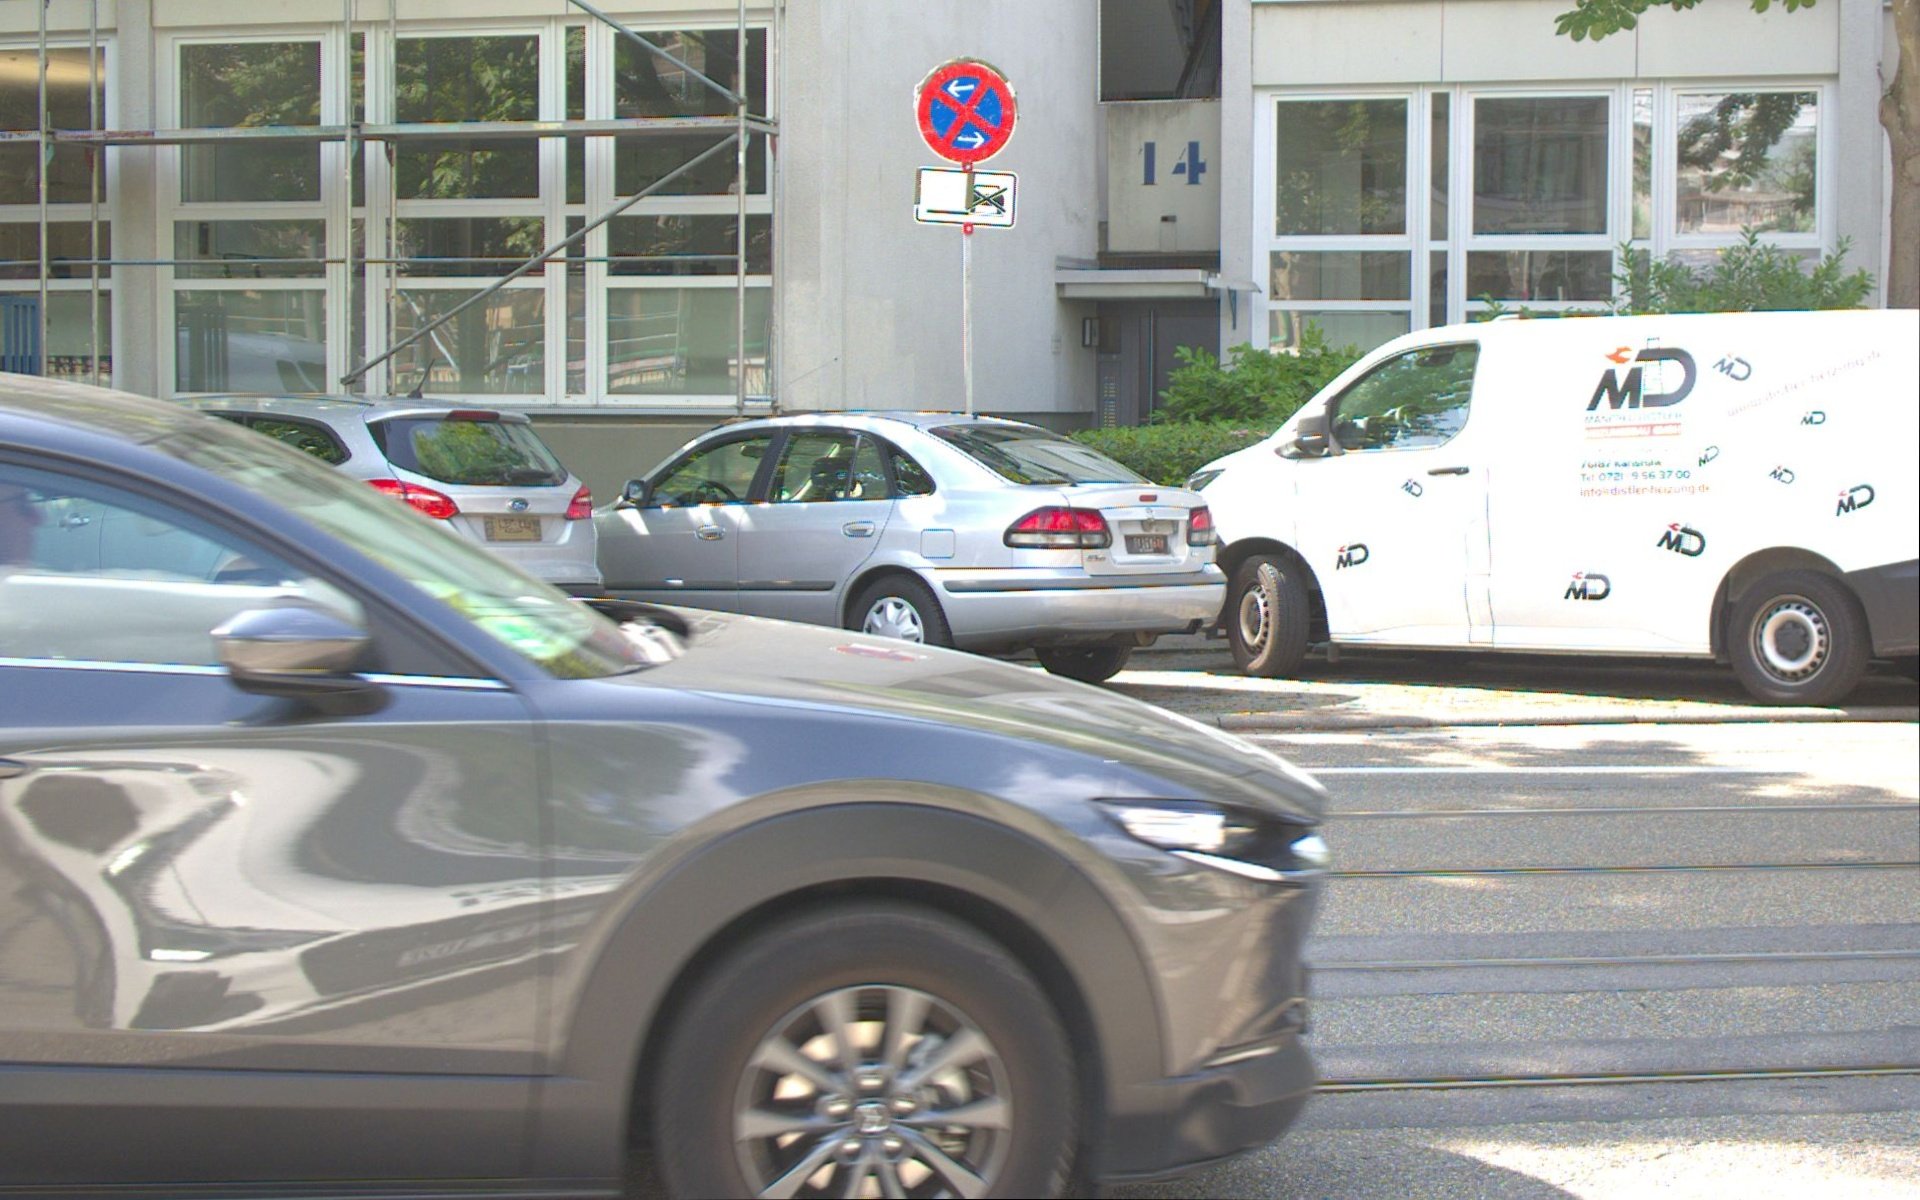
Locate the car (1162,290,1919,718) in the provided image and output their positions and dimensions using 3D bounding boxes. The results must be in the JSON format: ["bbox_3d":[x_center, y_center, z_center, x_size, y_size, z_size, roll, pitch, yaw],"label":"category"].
[{"bbox_3d":[3.536,-0.567,18.012,4.682,1.990,1.964,3,4,39],"label":"car"}]

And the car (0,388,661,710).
[{"bbox_3d":[-3.749,-0.352,17.892,4.188,1.495,1.819,3,4,35],"label":"car"}]

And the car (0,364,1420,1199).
[{"bbox_3d":[-1.558,0.357,6.049,4.335,1.506,1.796,-1,5,-10],"label":"car"}]

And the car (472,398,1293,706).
[{"bbox_3d":[-0.484,-0.343,18.275,4.167,1.444,1.818,3,4,39],"label":"car"}]
